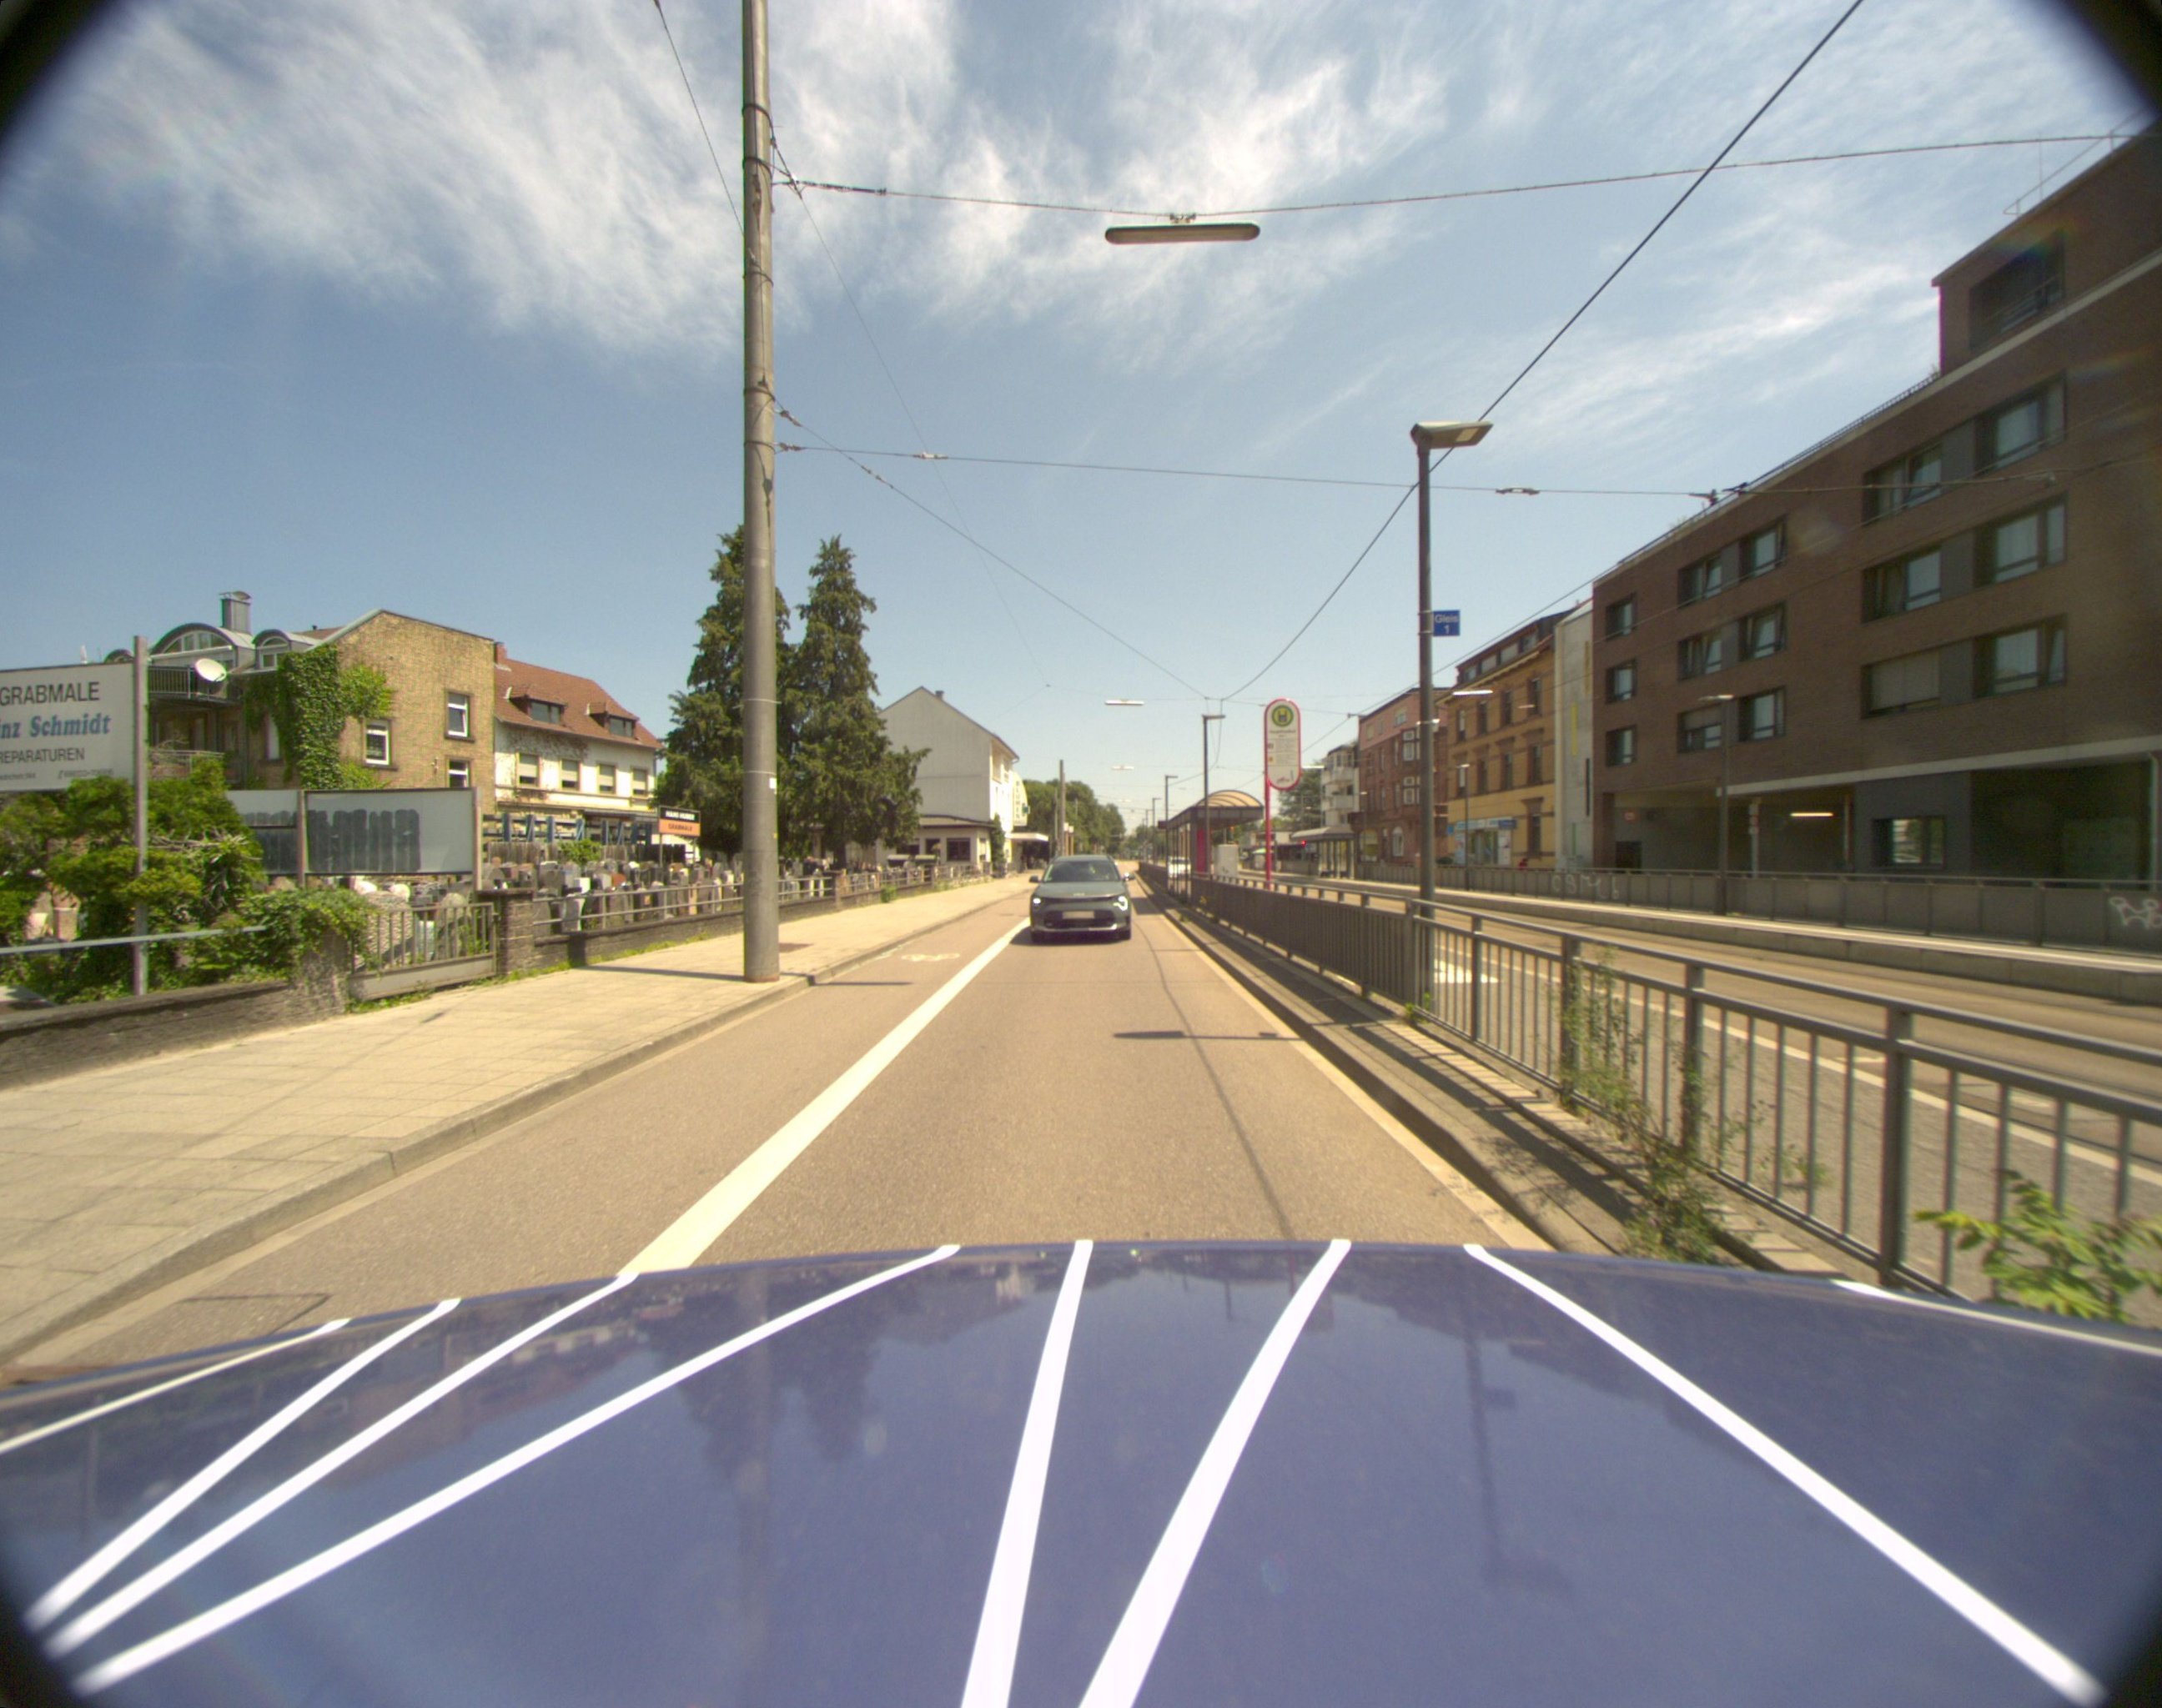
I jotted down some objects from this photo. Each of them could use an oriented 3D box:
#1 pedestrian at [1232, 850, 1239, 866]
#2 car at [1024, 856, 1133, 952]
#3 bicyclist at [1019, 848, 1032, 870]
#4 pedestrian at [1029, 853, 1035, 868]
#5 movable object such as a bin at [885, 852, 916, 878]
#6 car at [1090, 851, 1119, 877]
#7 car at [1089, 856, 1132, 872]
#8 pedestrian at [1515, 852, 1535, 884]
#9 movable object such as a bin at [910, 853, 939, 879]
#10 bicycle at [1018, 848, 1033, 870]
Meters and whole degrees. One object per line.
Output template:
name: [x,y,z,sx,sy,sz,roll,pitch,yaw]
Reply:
pedestrian: [16.256,0.399,80.108,0.597,1.615,0.676,1,1,3]
car: [0.021,0.861,15.116,1.827,1.546,4.487,-1,1,2]
bicyclist: [-4.847,0.426,66.354,0.790,1.863,0.888,2,1,10]
pedestrian: [-5.292,0.677,81.980,0.536,1.589,0.425,-2,1,-10]
movable object such as a bin: [-10.545,0.649,44.384,1.390,1.473,1.152,-1,1,7]
car: [1.514,0.644,49.464,1.748,1.546,4.487,-2,0,2]
car: [2.882,1.000,73.704,3.995,1.509,1.698,0,1,5]
pedestrian: [22.183,0.700,37.987,0.604,1.586,0.715,0,1,1]
movable object such as a bin: [-9.048,0.702,43.985,1.390,1.473,1.151,-1,1,4]
bicycle: [-4.841,0.435,66.472,0.799,1.889,1.960,2,0,10]
